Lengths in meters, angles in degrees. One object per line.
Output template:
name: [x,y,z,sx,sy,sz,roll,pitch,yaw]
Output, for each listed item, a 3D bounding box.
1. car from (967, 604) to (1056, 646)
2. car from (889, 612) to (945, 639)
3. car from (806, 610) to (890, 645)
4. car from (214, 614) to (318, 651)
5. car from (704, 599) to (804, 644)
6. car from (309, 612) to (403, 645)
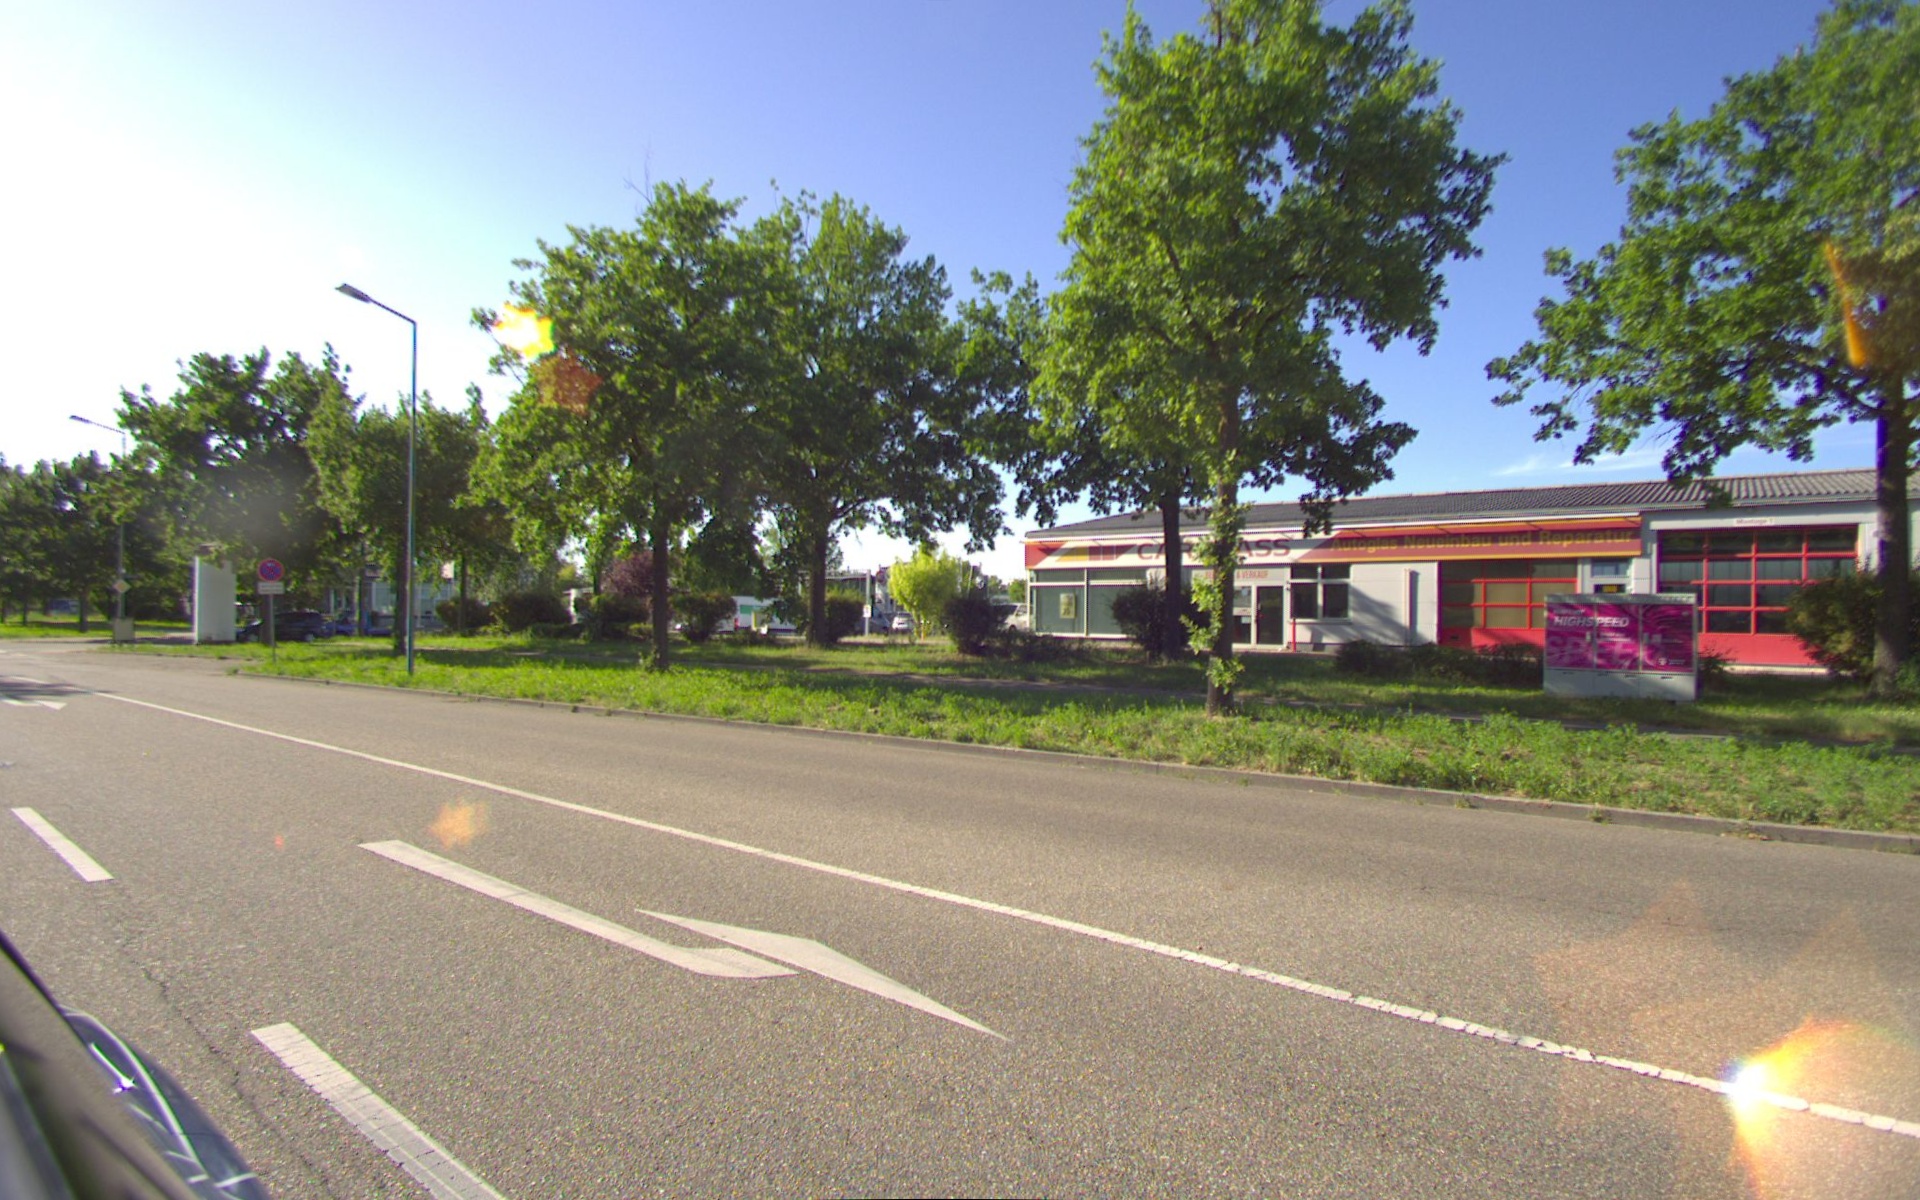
car: [2.153,0.991,41.521,1.734,1.583,3.769,-2,-1,40]
car: [-2.950,1.727,69.542,1.761,1.684,3.811,0,0,40]
car: [-6.216,1.490,56.704,1.989,1.795,4.583,0,0,40]
car: [-38.508,1.751,56.205,1.999,1.847,4.406,0,0,41]
car: [-12.525,1.266,61.911,2.406,2.574,5.952,0,0,36]
car: [-37.046,1.708,62.134,1.999,1.847,4.578,0,0,40]
